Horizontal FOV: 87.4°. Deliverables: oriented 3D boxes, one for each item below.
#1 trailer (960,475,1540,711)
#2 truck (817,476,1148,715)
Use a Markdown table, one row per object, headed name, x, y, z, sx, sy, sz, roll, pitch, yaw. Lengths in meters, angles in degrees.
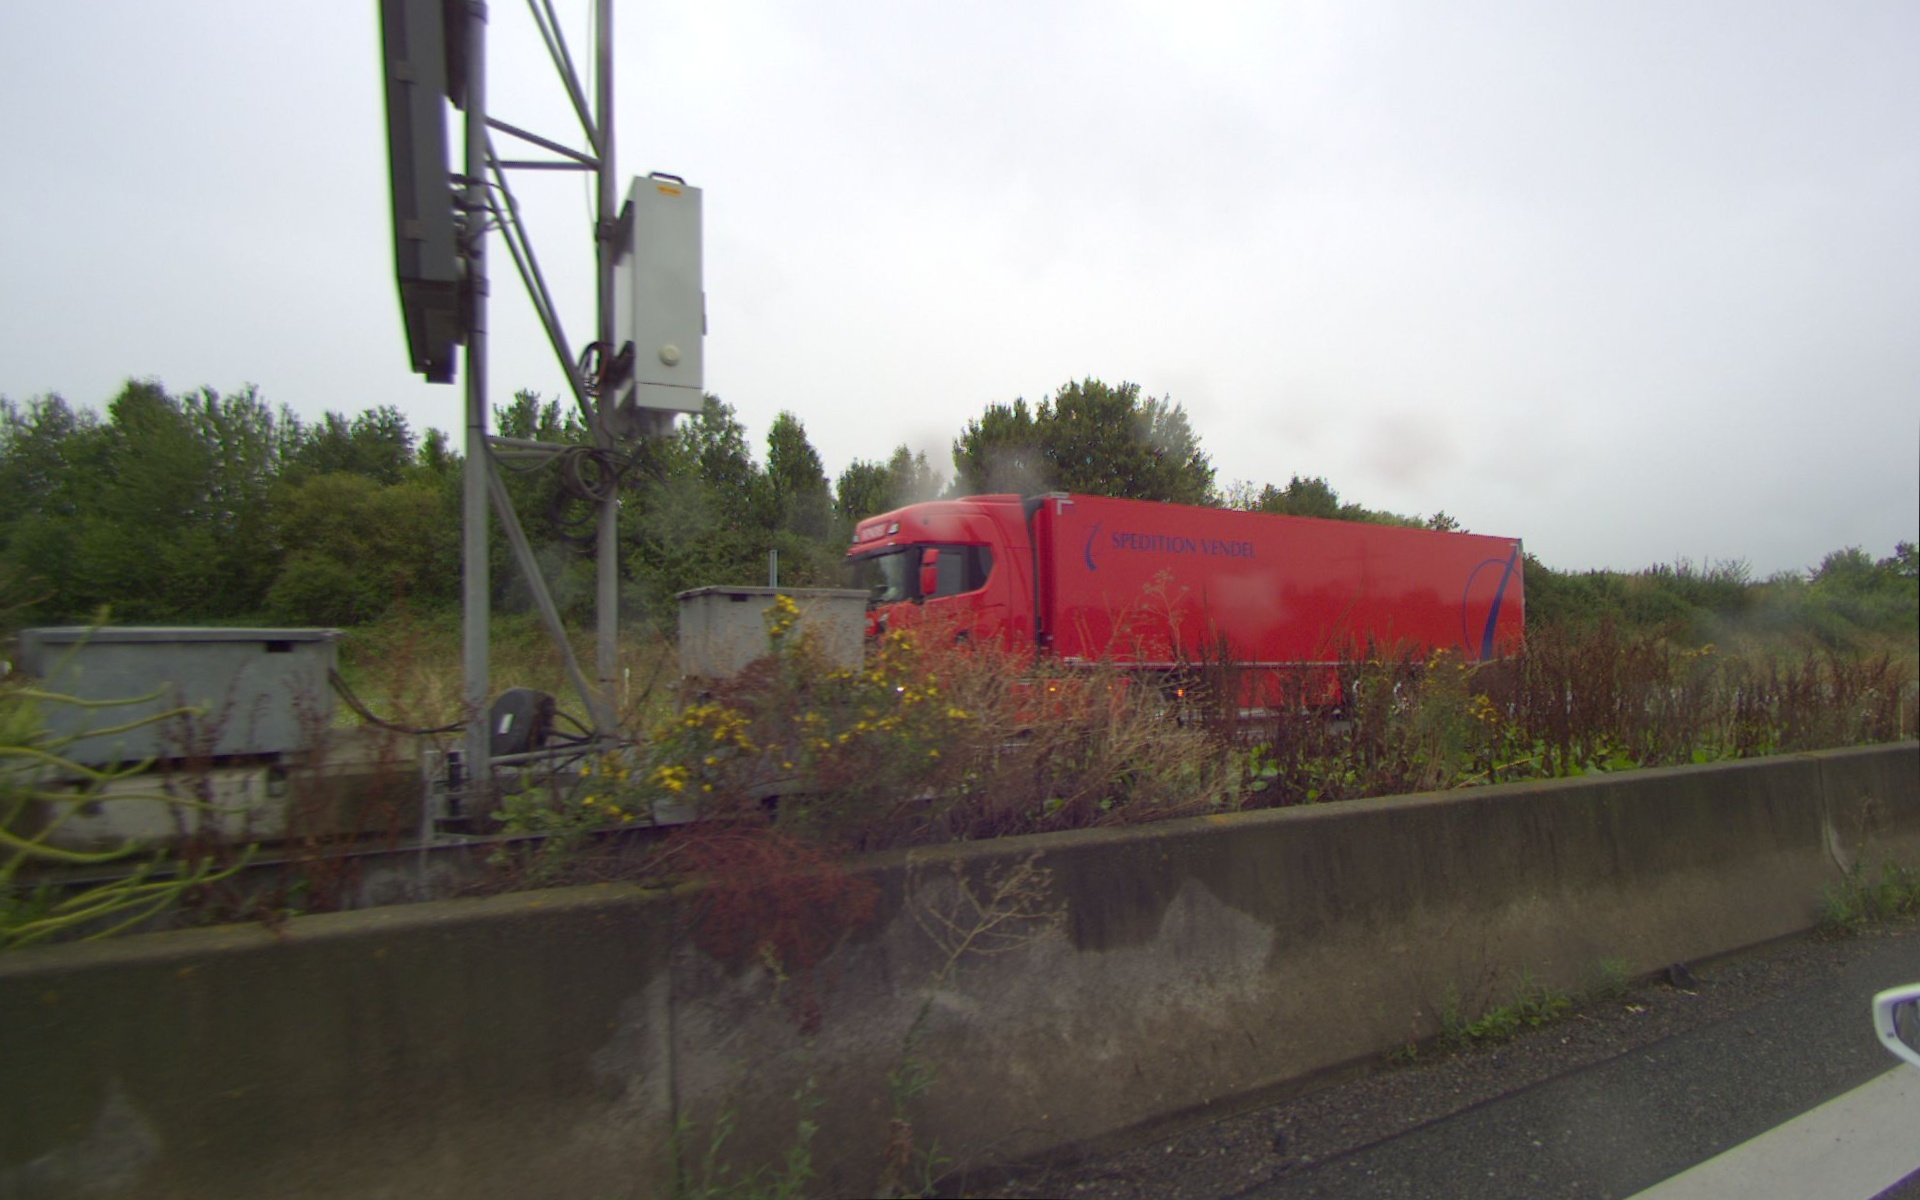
| name | x | y | z | sx | sy | sz | roll | pitch | yaw |
| --- | --- | --- | --- | --- | --- | --- | --- | --- | --- |
| trailer | 6.750 | 0.110 | 21.225 | 13.813 | 3.865 | 3.023 | 2 | -1 | -30 |
| truck | 0.382 | 0.010 | 17.550 | 4.868 | 3.578 | 3.010 | 2 | 0 | -30 |
